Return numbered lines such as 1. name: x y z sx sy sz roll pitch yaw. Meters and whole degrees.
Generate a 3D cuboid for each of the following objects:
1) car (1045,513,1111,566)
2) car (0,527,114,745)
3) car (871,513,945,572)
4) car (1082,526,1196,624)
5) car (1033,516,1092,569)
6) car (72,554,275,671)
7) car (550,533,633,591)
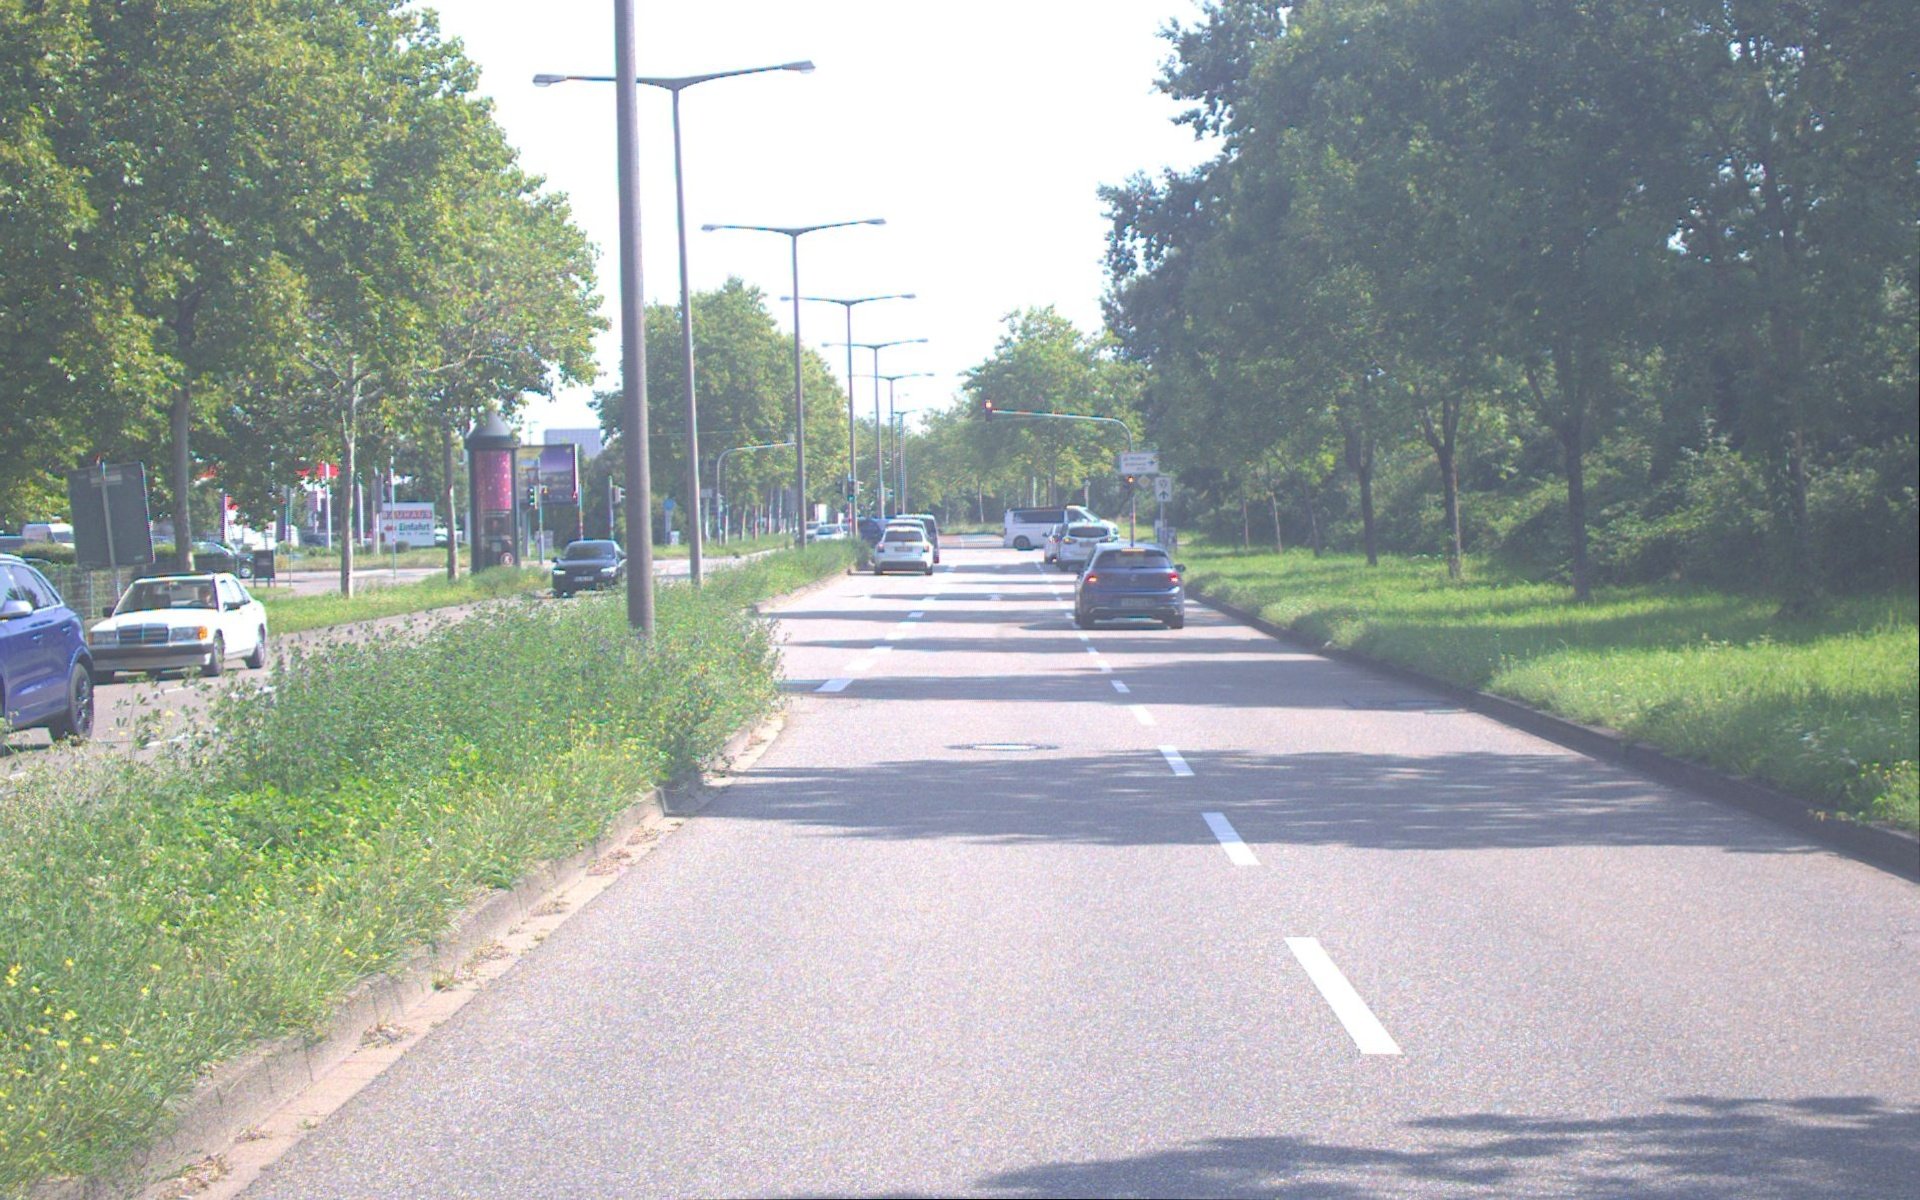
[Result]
1. car: 3.839 -1.989 112.580 1.993 1.648 4.000 -2 1 1
2. car: -8.010 0.290 26.277 1.993 1.579 4.347 -3 1 -1
3. car: -1.573 -1.750 104.620 1.994 1.696 4.000 -2 1 2
4. car: 3.014 -0.450 58.580 1.780 1.422 4.001 1 4 1
5. car: 3.745 -2.129 126.197 1.993 1.648 4.001 -1 5 0
6. car: -10.547 0.133 46.398 1.795 1.412 4.411 -3 1 -2
7. car: -9.766 -1.006 91.284 1.795 1.412 4.411 -3 1 -2
